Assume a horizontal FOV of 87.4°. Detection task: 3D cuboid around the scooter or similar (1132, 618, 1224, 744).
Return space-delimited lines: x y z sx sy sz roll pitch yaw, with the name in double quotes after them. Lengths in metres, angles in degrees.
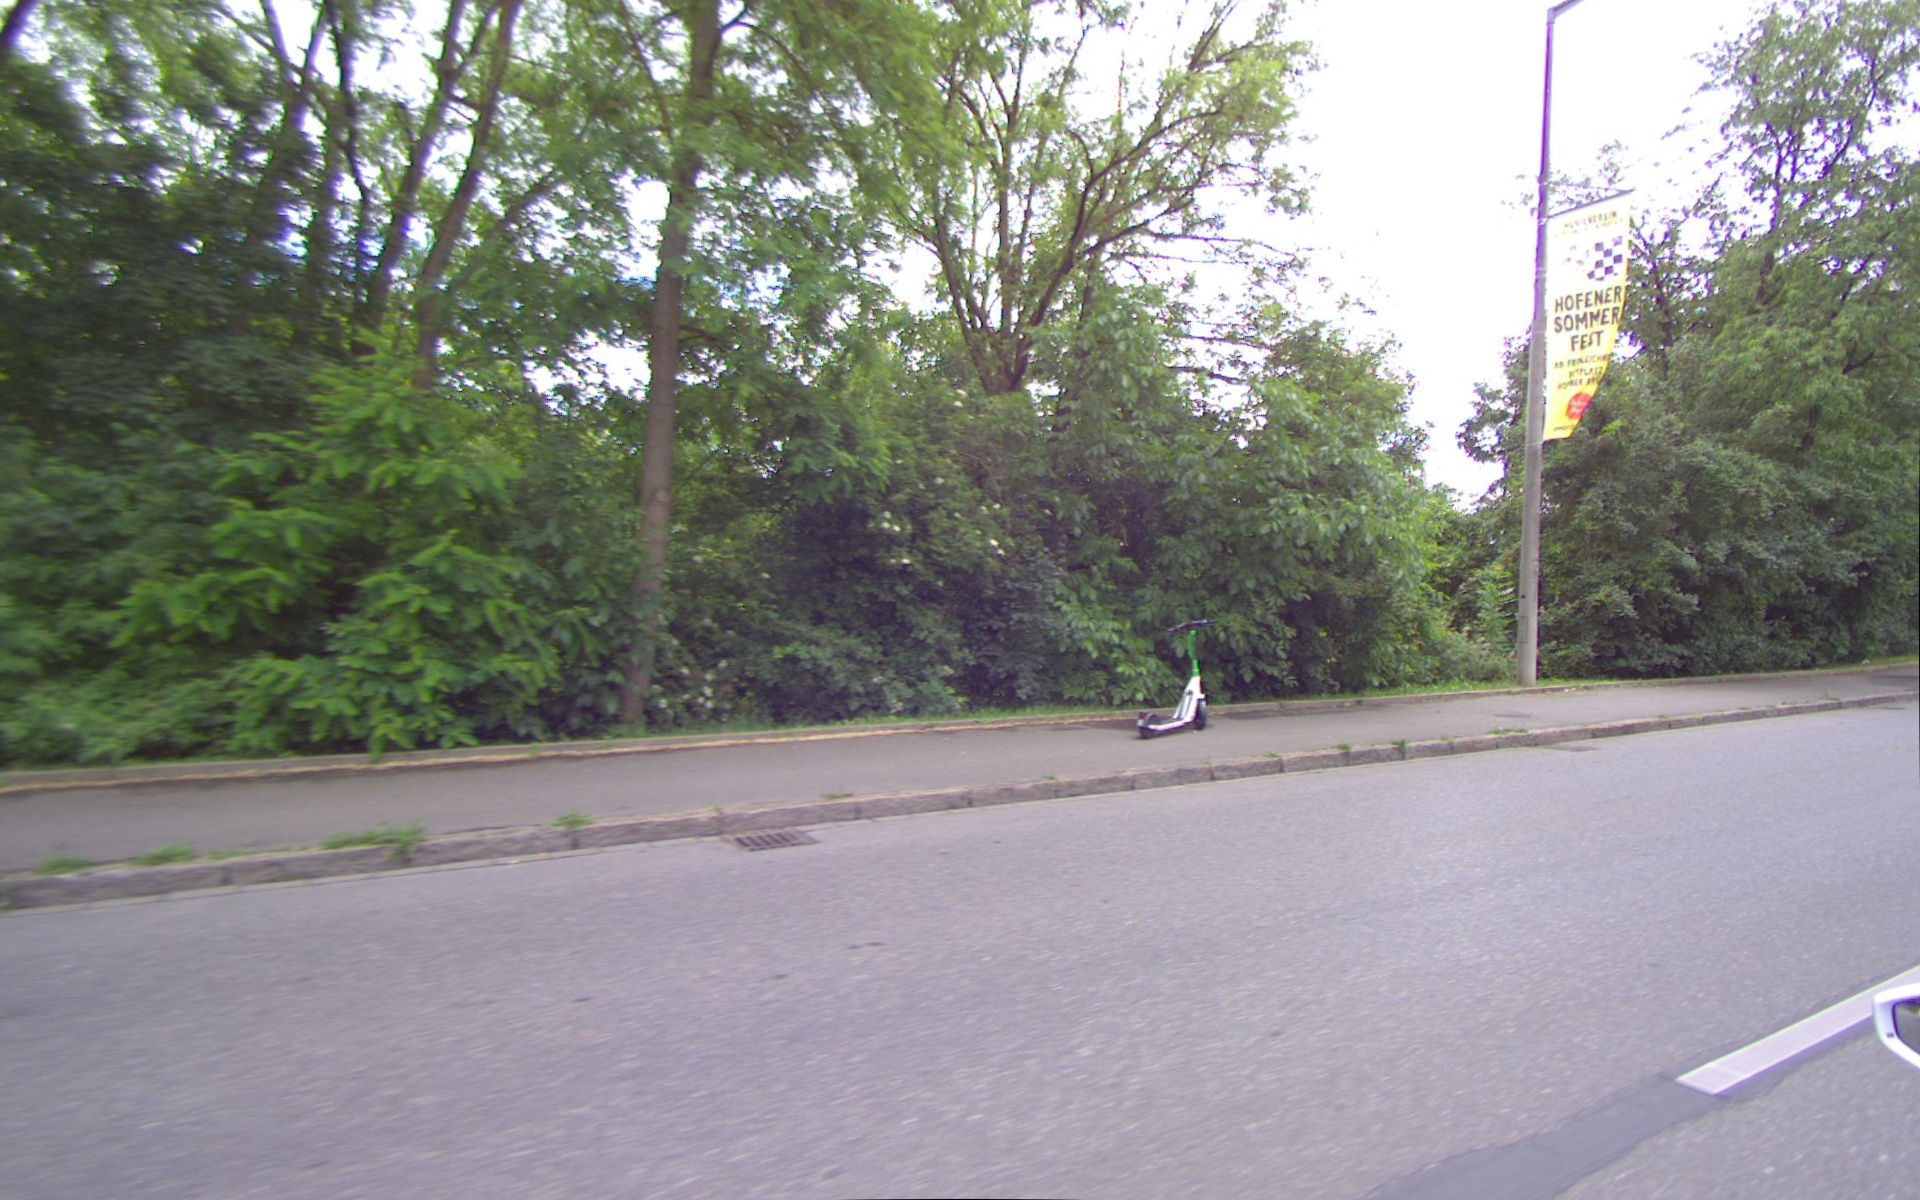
2.286 0.808 10.470 0.360 1.200 1.292 3 2 39 "scooter or similar"
